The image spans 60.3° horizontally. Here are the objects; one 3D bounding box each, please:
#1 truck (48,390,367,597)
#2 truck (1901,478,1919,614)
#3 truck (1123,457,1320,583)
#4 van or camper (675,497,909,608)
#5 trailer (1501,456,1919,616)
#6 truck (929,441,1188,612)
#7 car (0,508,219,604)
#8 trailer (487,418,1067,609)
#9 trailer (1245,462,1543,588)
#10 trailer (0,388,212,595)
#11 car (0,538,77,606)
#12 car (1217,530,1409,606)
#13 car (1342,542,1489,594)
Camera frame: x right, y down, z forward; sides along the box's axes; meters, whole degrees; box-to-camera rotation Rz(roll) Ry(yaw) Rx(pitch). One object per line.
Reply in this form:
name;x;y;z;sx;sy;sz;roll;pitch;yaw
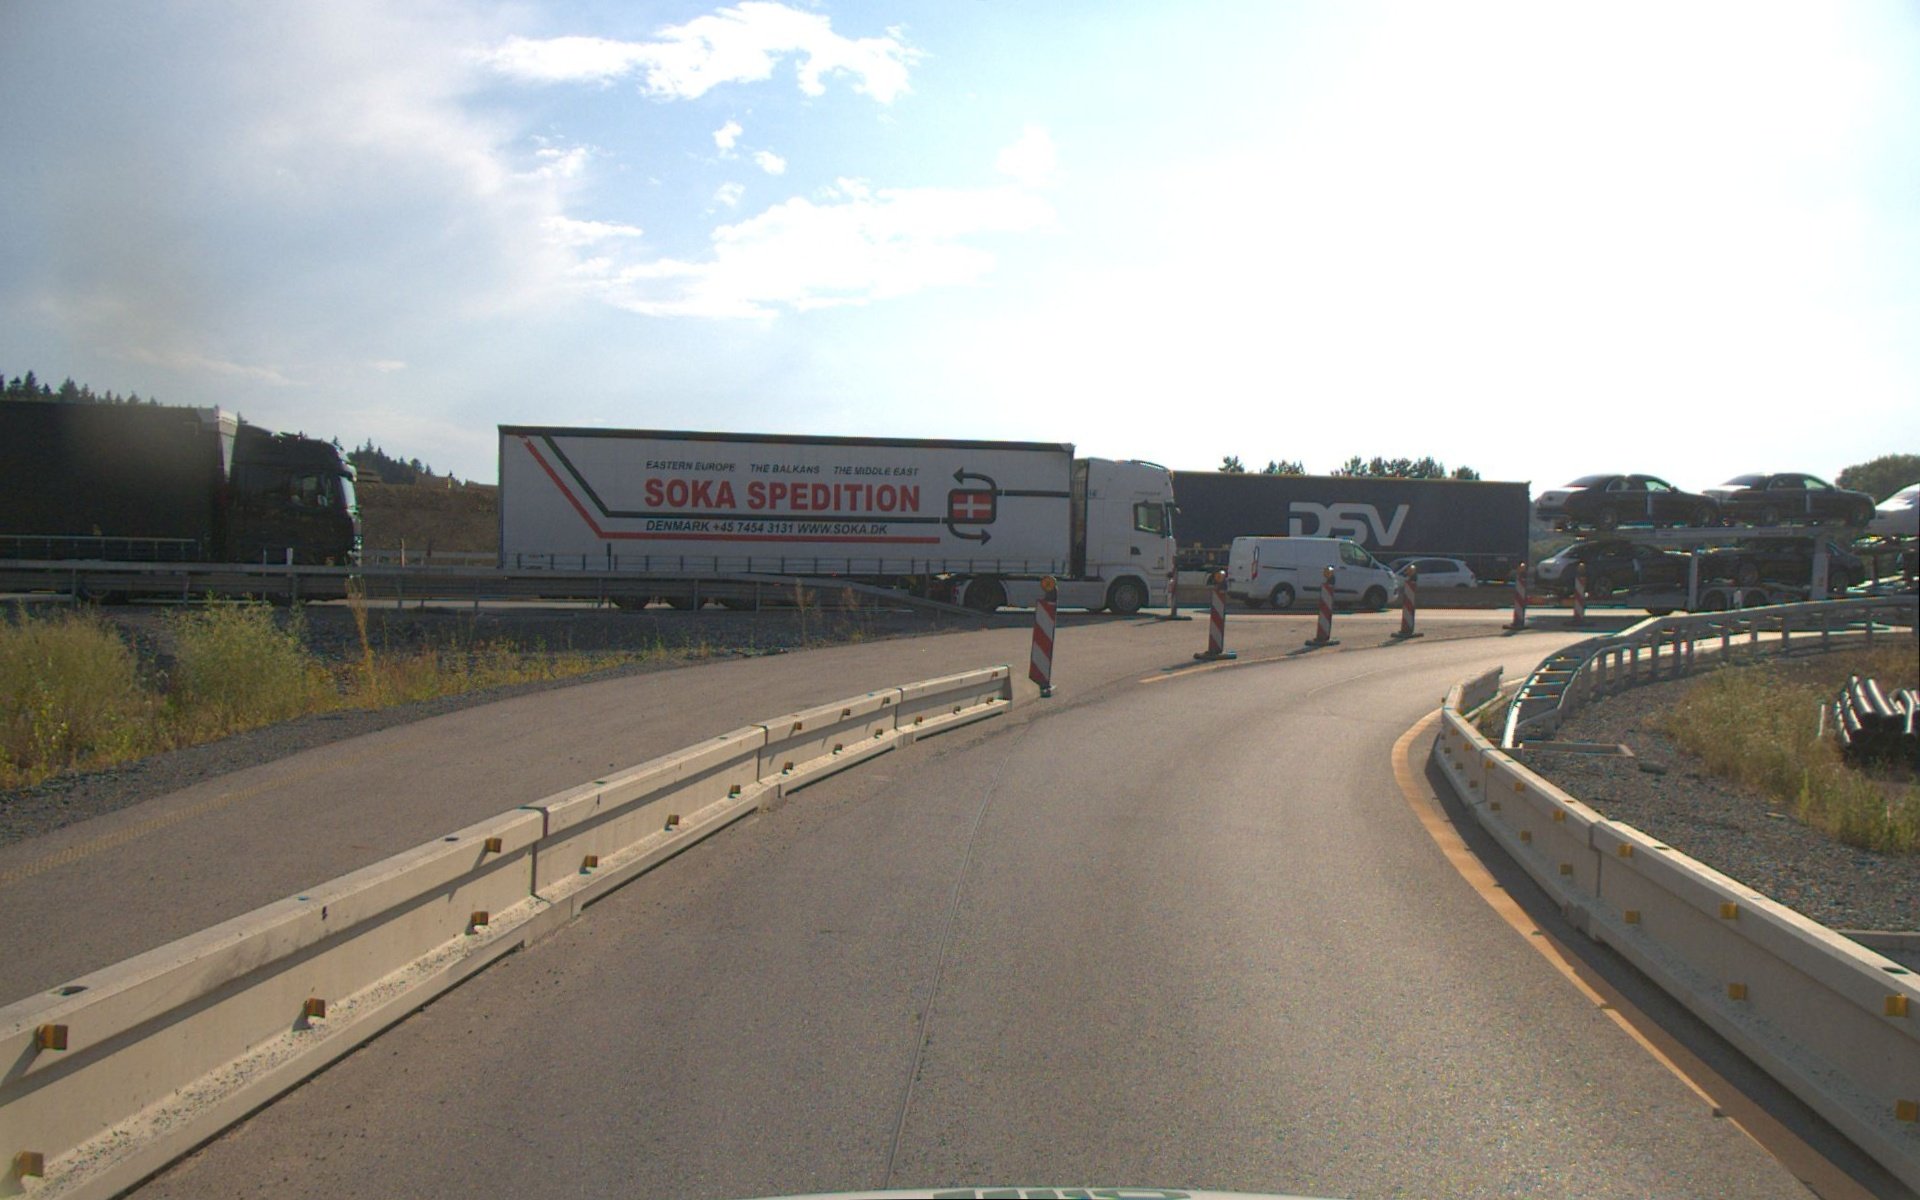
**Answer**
truck;-16.084;-2.211;35.787;5.895;4.130;2.478;1;1;-17
truck;32.076;-1.535;49.696;6.495;4.066;2.846;1;1;-16
truck;8.426;-2.502;53.644;5.576;3.792;2.994;1;0;-15
van or camper;-4.380;-1.216;43.029;5.786;2.665;1.992;1;2;-15
trailer;22.982;-1.673;47.075;15.438;4.066;2.854;1;1;-16
truck;2.414;-1.772;41.175;5.894;3.945;2.478;1;1;-16
car;-19.277;-0.970;37.544;4.248;2.049;1.519;1;0;-17
trailer;-4.201;-1.915;39.196;13.366;3.945;2.478;1;1;-16
trailer;14.492;-2.401;55.308;9.379;3.817;3.005;1;0;-15
trailer;-22.740;-2.311;33.693;13.373;4.132;2.476;1;1;-18
car;-24.149;-0.704;39.652;4.880;1.526;2.028;1;3;-15
car;9.966;-0.921;46.800;4.880;2.015;2.028;1;3;-15
car;14.249;-1.002;51.755;4.154;1.526;1.656;1;3;-15
